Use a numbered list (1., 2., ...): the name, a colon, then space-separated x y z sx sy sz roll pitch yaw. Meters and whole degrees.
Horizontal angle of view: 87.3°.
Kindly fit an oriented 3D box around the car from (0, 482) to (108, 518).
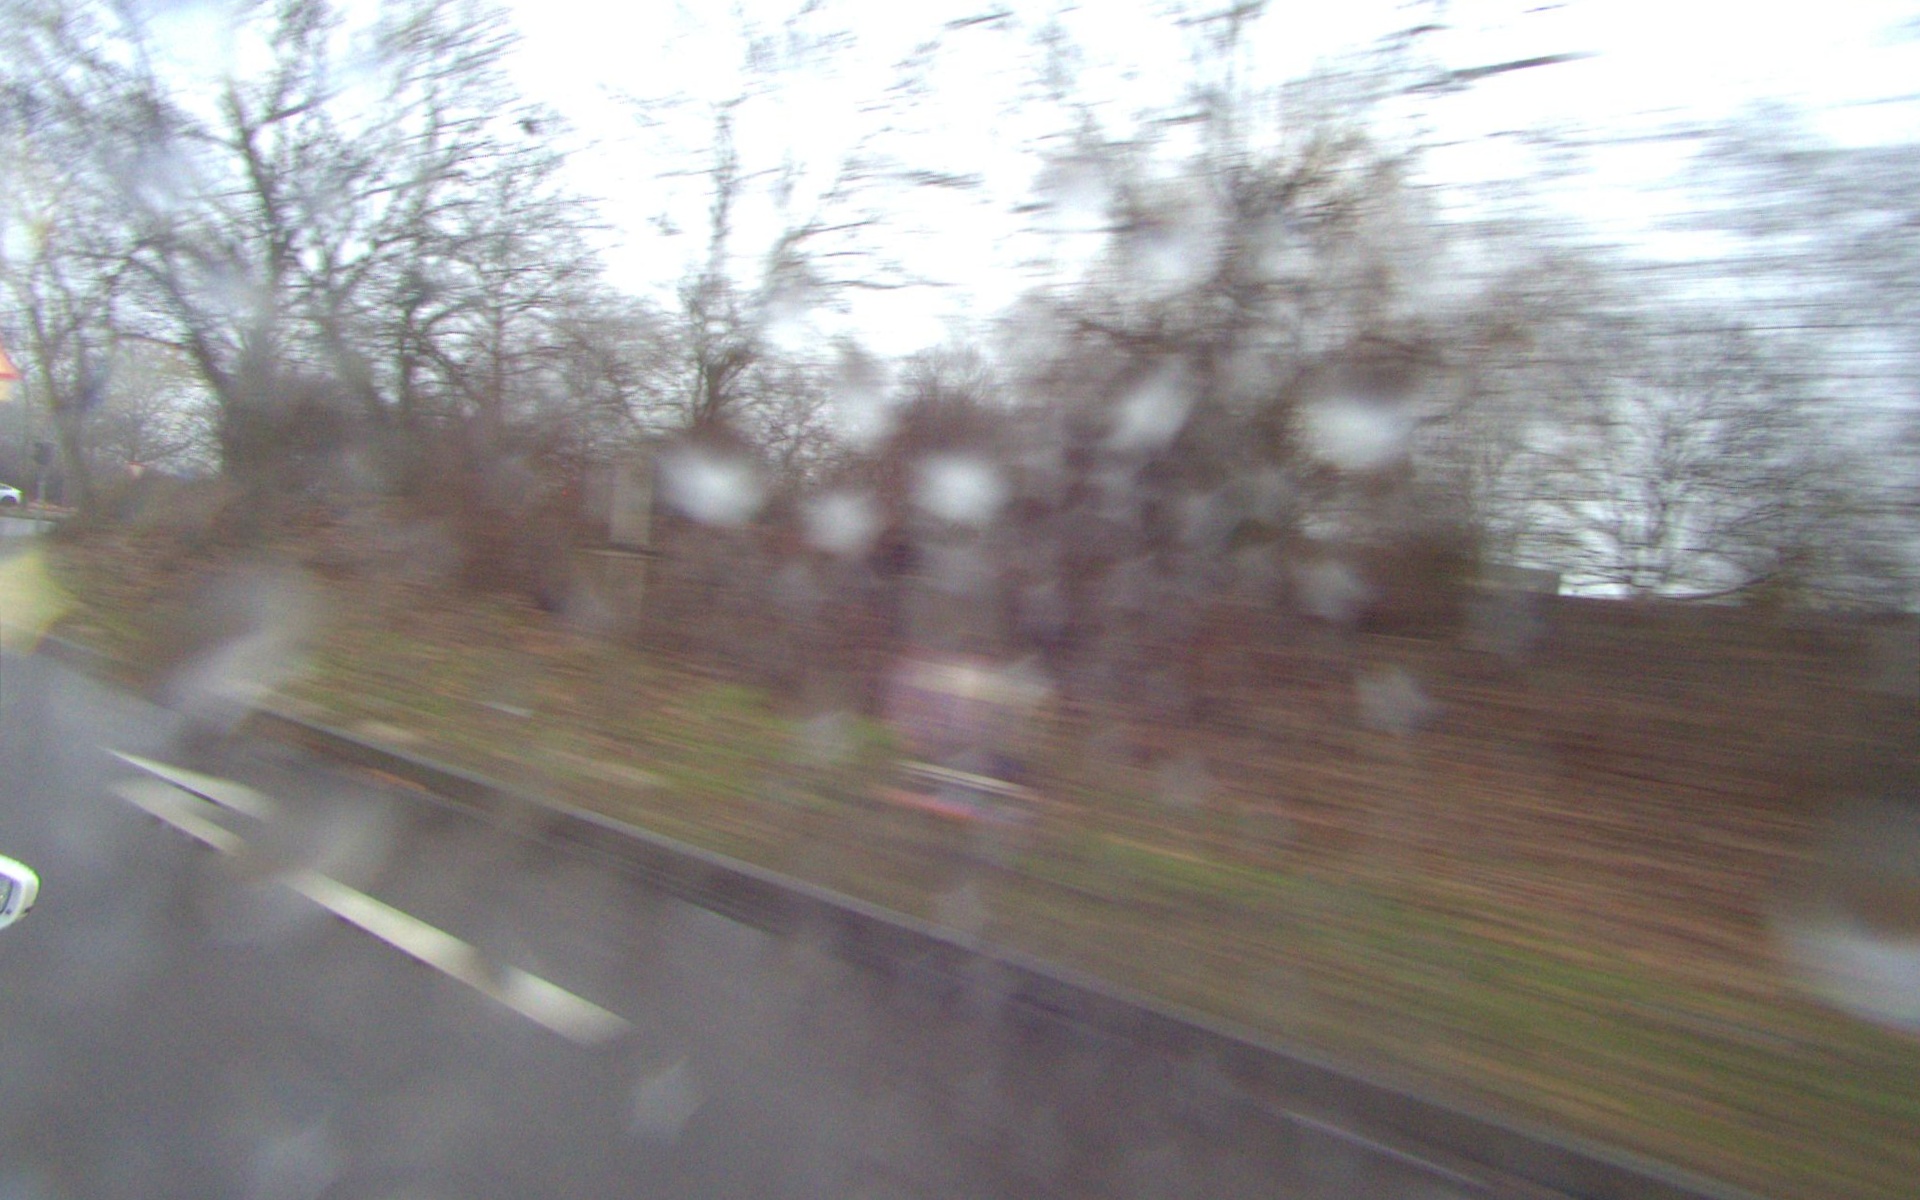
1. car: -57.695 -6.359 64.169 1.851 1.392 4.746 7 -1 31
